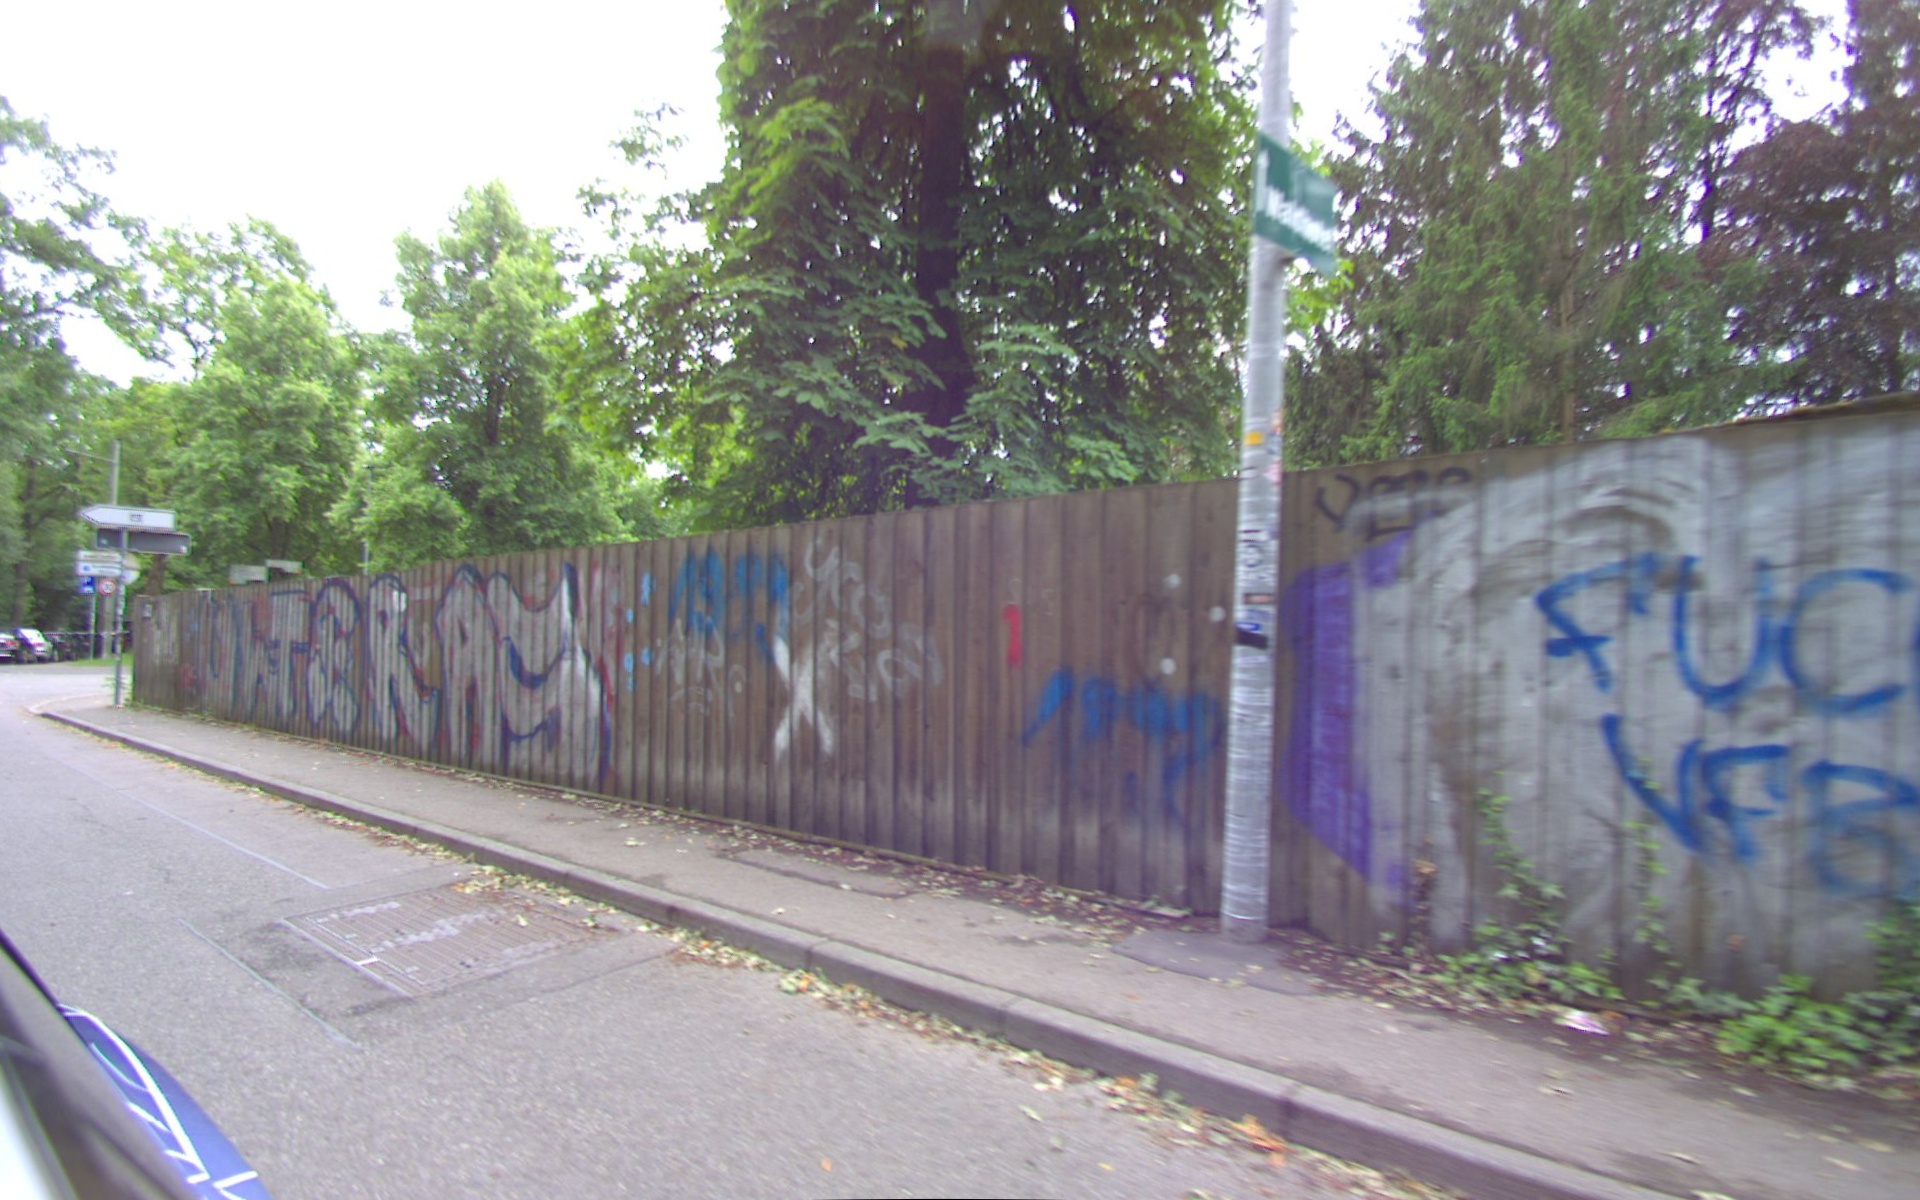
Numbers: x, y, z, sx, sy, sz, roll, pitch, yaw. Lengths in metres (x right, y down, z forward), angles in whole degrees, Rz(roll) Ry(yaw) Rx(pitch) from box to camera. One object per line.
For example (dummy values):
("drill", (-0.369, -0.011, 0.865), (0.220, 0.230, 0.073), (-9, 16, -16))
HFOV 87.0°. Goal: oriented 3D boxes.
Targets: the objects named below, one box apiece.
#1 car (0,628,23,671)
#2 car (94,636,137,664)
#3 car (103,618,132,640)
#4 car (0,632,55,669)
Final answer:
("car", (-36.201, 1.865, 37.482), (1.743, 1.506, 4.335), (2, -4, -37))
("car", (-53.635, 3.175, 64.277), (1.928, 1.631, 3.645), (5, -4, -40))
("car", (-100.124, 3.422, 120.285), (2.540, 2.554, 4.944), (2, -3, -39))
("car", (-38.854, 2.109, 41.682), (1.967, 1.431, 4.008), (2, -4, -37))
